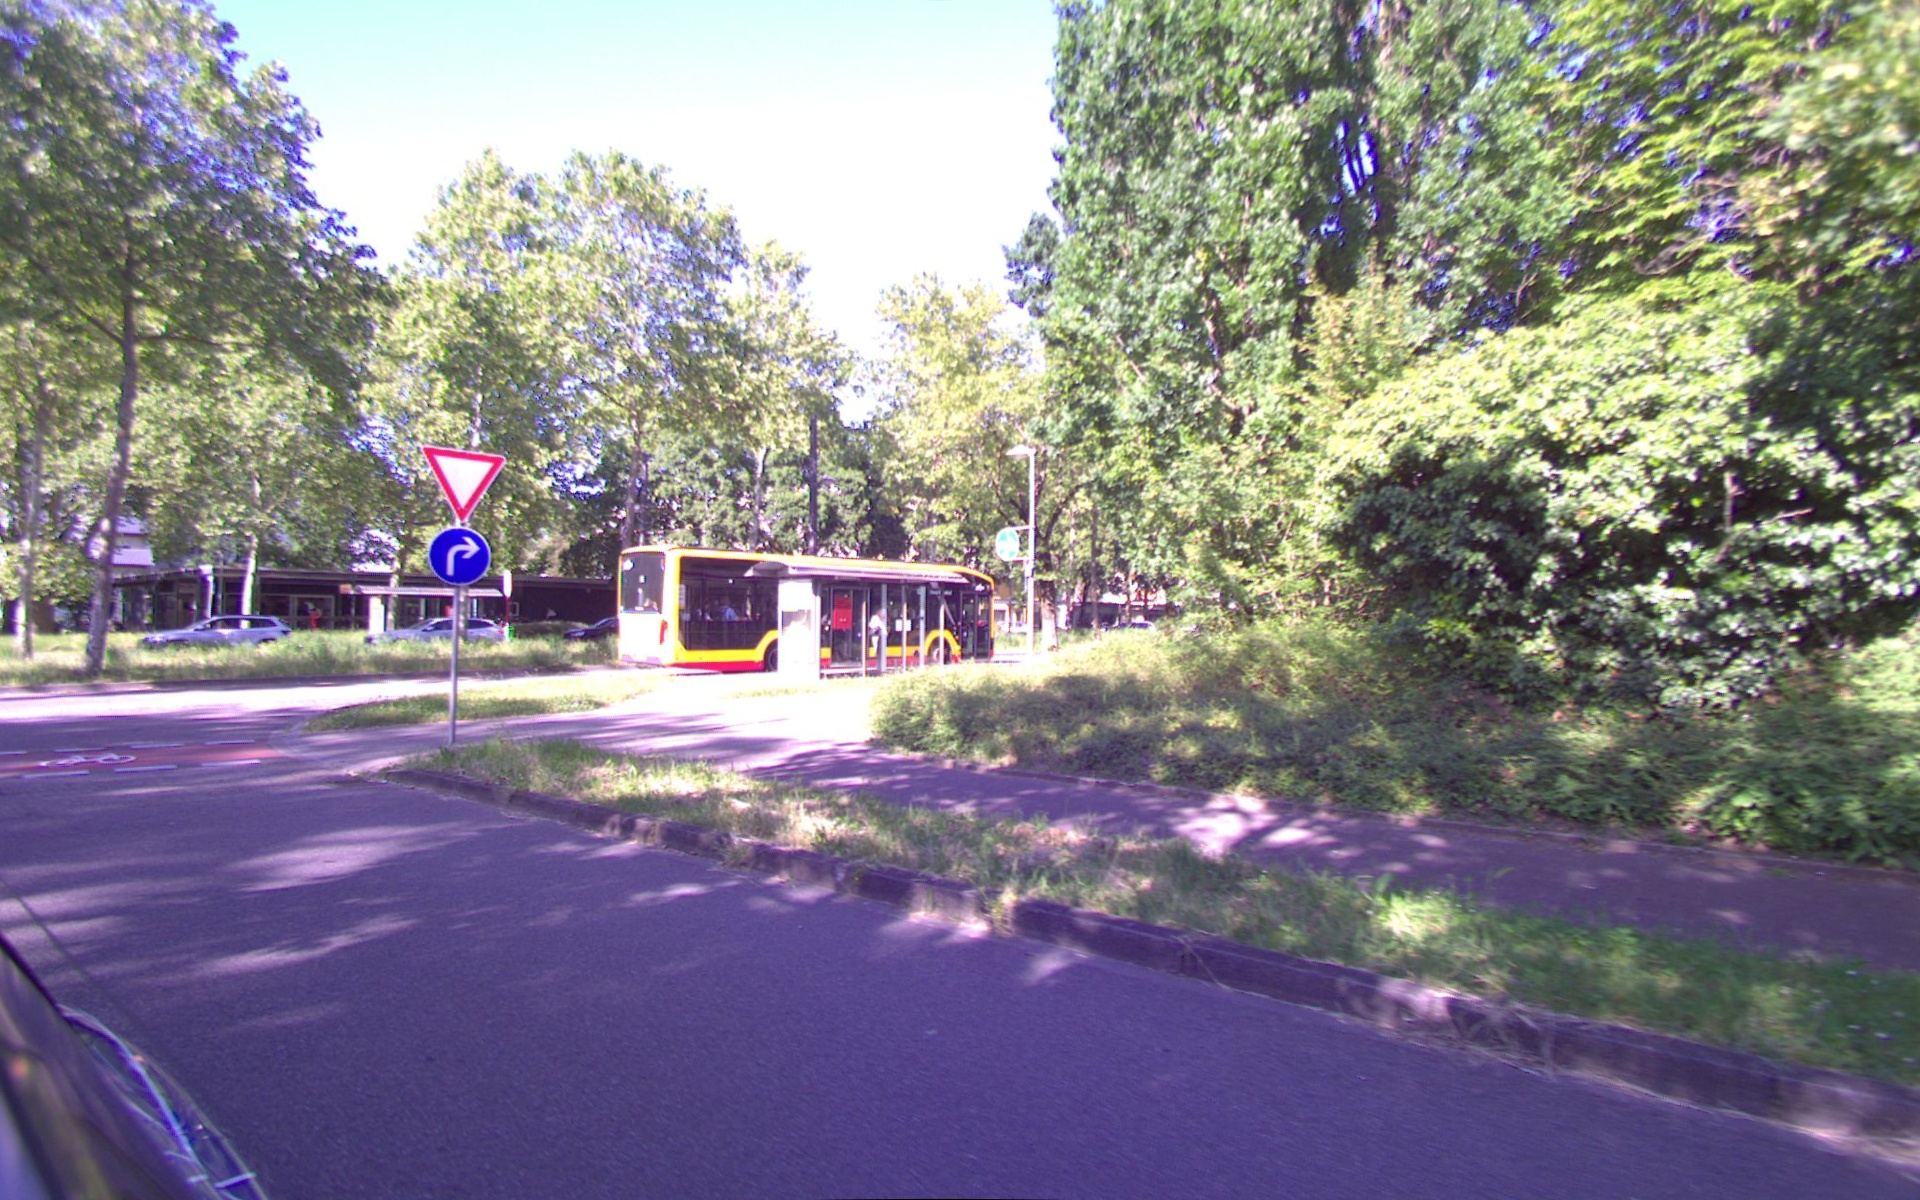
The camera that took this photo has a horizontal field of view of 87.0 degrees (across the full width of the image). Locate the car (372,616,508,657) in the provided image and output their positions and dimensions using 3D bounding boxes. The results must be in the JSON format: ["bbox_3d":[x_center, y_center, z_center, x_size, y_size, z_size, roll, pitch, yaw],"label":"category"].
[{"bbox_3d":[-20.078,1.355,39.229,1.619,1.402,4.424,-1,0,42],"label":"car"}]

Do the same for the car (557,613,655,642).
[{"bbox_3d":[-16.303,1.243,46.720,1.620,1.229,4.008,-1,0,44],"label":"car"}]

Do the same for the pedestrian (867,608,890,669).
[{"bbox_3d":[-2.201,1.041,27.293,0.474,1.614,0.589,-1,0,10],"label":"pedestrian"}]

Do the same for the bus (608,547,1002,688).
[{"bbox_3d":[-3.776,0.362,28.943,2.698,3.294,11.977,-1,0,44],"label":"bus"}]

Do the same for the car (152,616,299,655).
[{"bbox_3d":[-25.873,1.208,35.738,1.620,1.229,4.008,-1,0,44],"label":"car"}]
